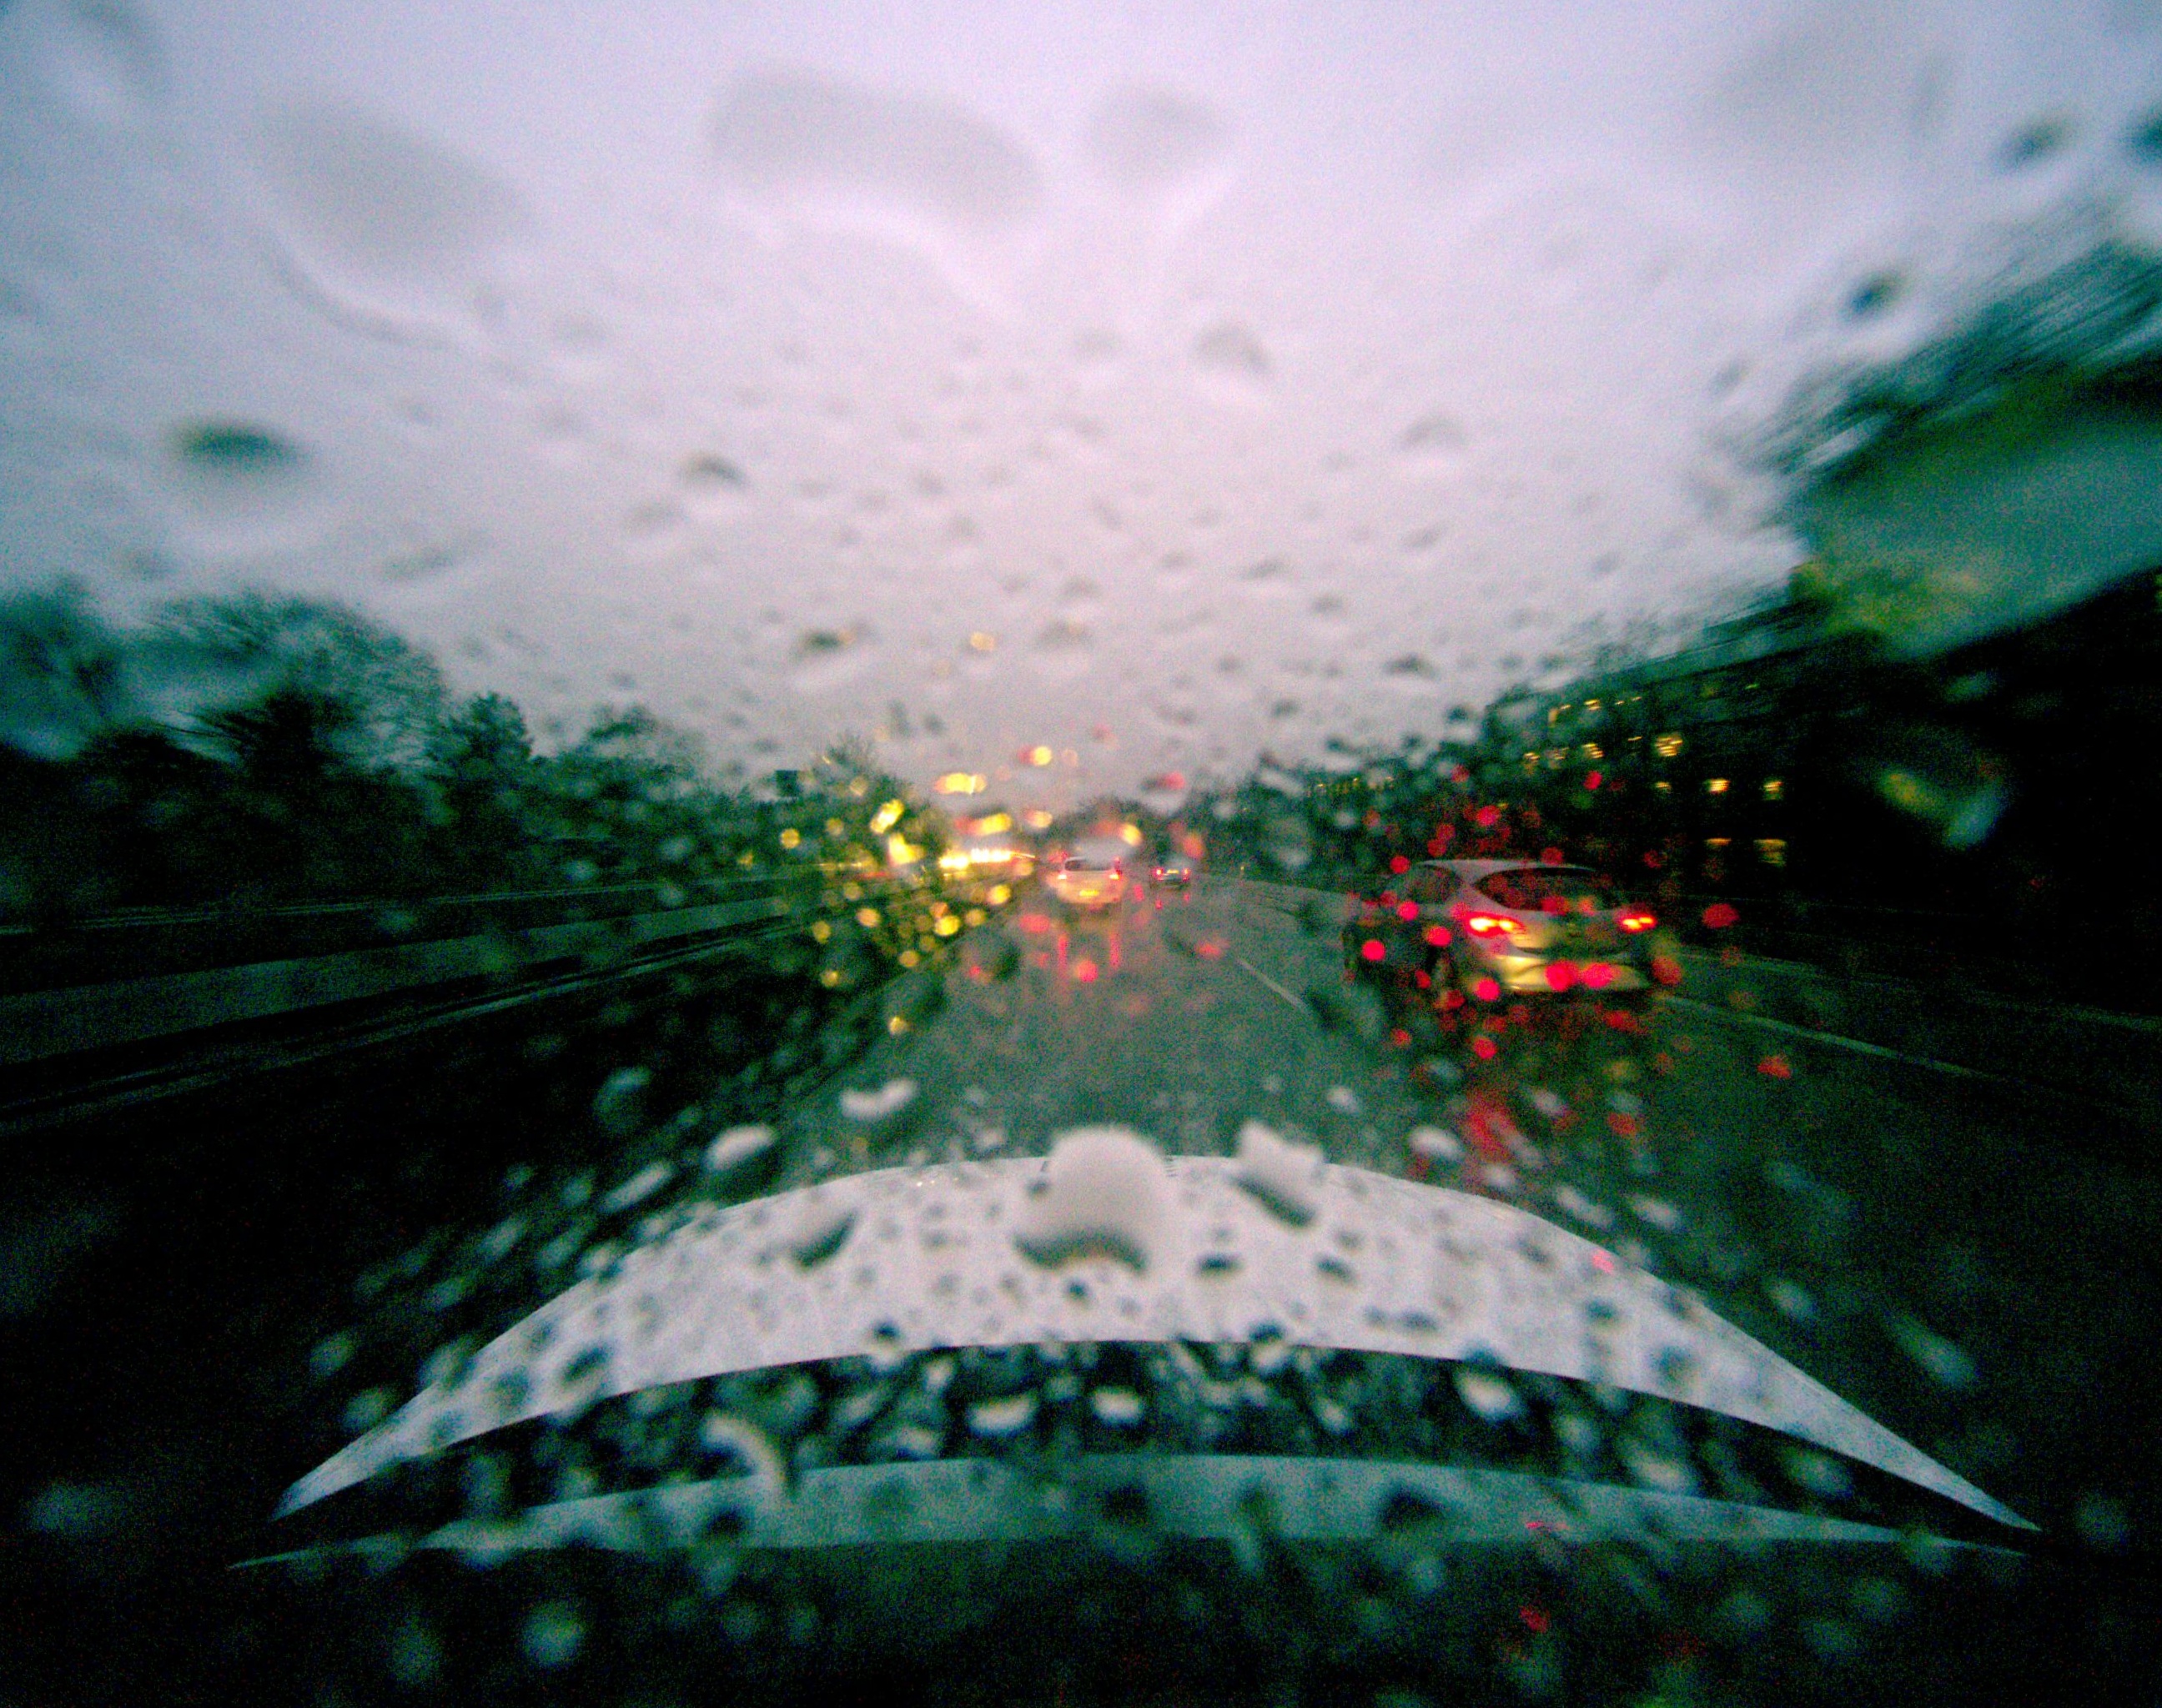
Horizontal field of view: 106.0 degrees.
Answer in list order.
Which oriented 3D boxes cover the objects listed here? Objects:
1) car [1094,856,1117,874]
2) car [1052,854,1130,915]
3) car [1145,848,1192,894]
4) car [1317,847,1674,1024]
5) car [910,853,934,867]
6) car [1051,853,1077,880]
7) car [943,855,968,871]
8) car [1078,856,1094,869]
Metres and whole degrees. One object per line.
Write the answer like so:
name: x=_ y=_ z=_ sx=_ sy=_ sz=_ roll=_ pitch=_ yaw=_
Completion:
car: x=2.398 y=1.088 z=80.583 sx=1.928 sy=1.546 sz=3.770 roll=-6 pitch=-1 yaw=-2
car: x=0.276 y=0.792 z=23.165 sx=2.018 sy=1.575 sz=4.000 roll=0 pitch=0 yaw=0
car: x=3.962 y=0.759 z=37.420 sx=1.925 sy=2.019 sz=3.776 roll=0 pitch=0 yaw=3
car: x=4.162 y=0.700 z=9.097 sx=1.843 sy=1.501 sz=4.262 roll=0 pitch=0 yaw=0
car: x=-17.997 y=0.626 z=92.425 sx=1.831 sy=1.556 sz=4.354 roll=0 pitch=0 yaw=0
car: x=-1.379 y=0.954 z=63.796 sx=1.989 sy=2.014 sz=3.996 roll=0 pitch=0 yaw=-2
car: x=-12.211 y=0.842 z=79.284 sx=1.832 sy=1.556 sz=4.353 roll=0 pitch=0 yaw=-1
car: x=0.627 y=1.036 z=103.308 sx=1.926 sy=1.546 sz=3.772 roll=0 pitch=0 yaw=-1
